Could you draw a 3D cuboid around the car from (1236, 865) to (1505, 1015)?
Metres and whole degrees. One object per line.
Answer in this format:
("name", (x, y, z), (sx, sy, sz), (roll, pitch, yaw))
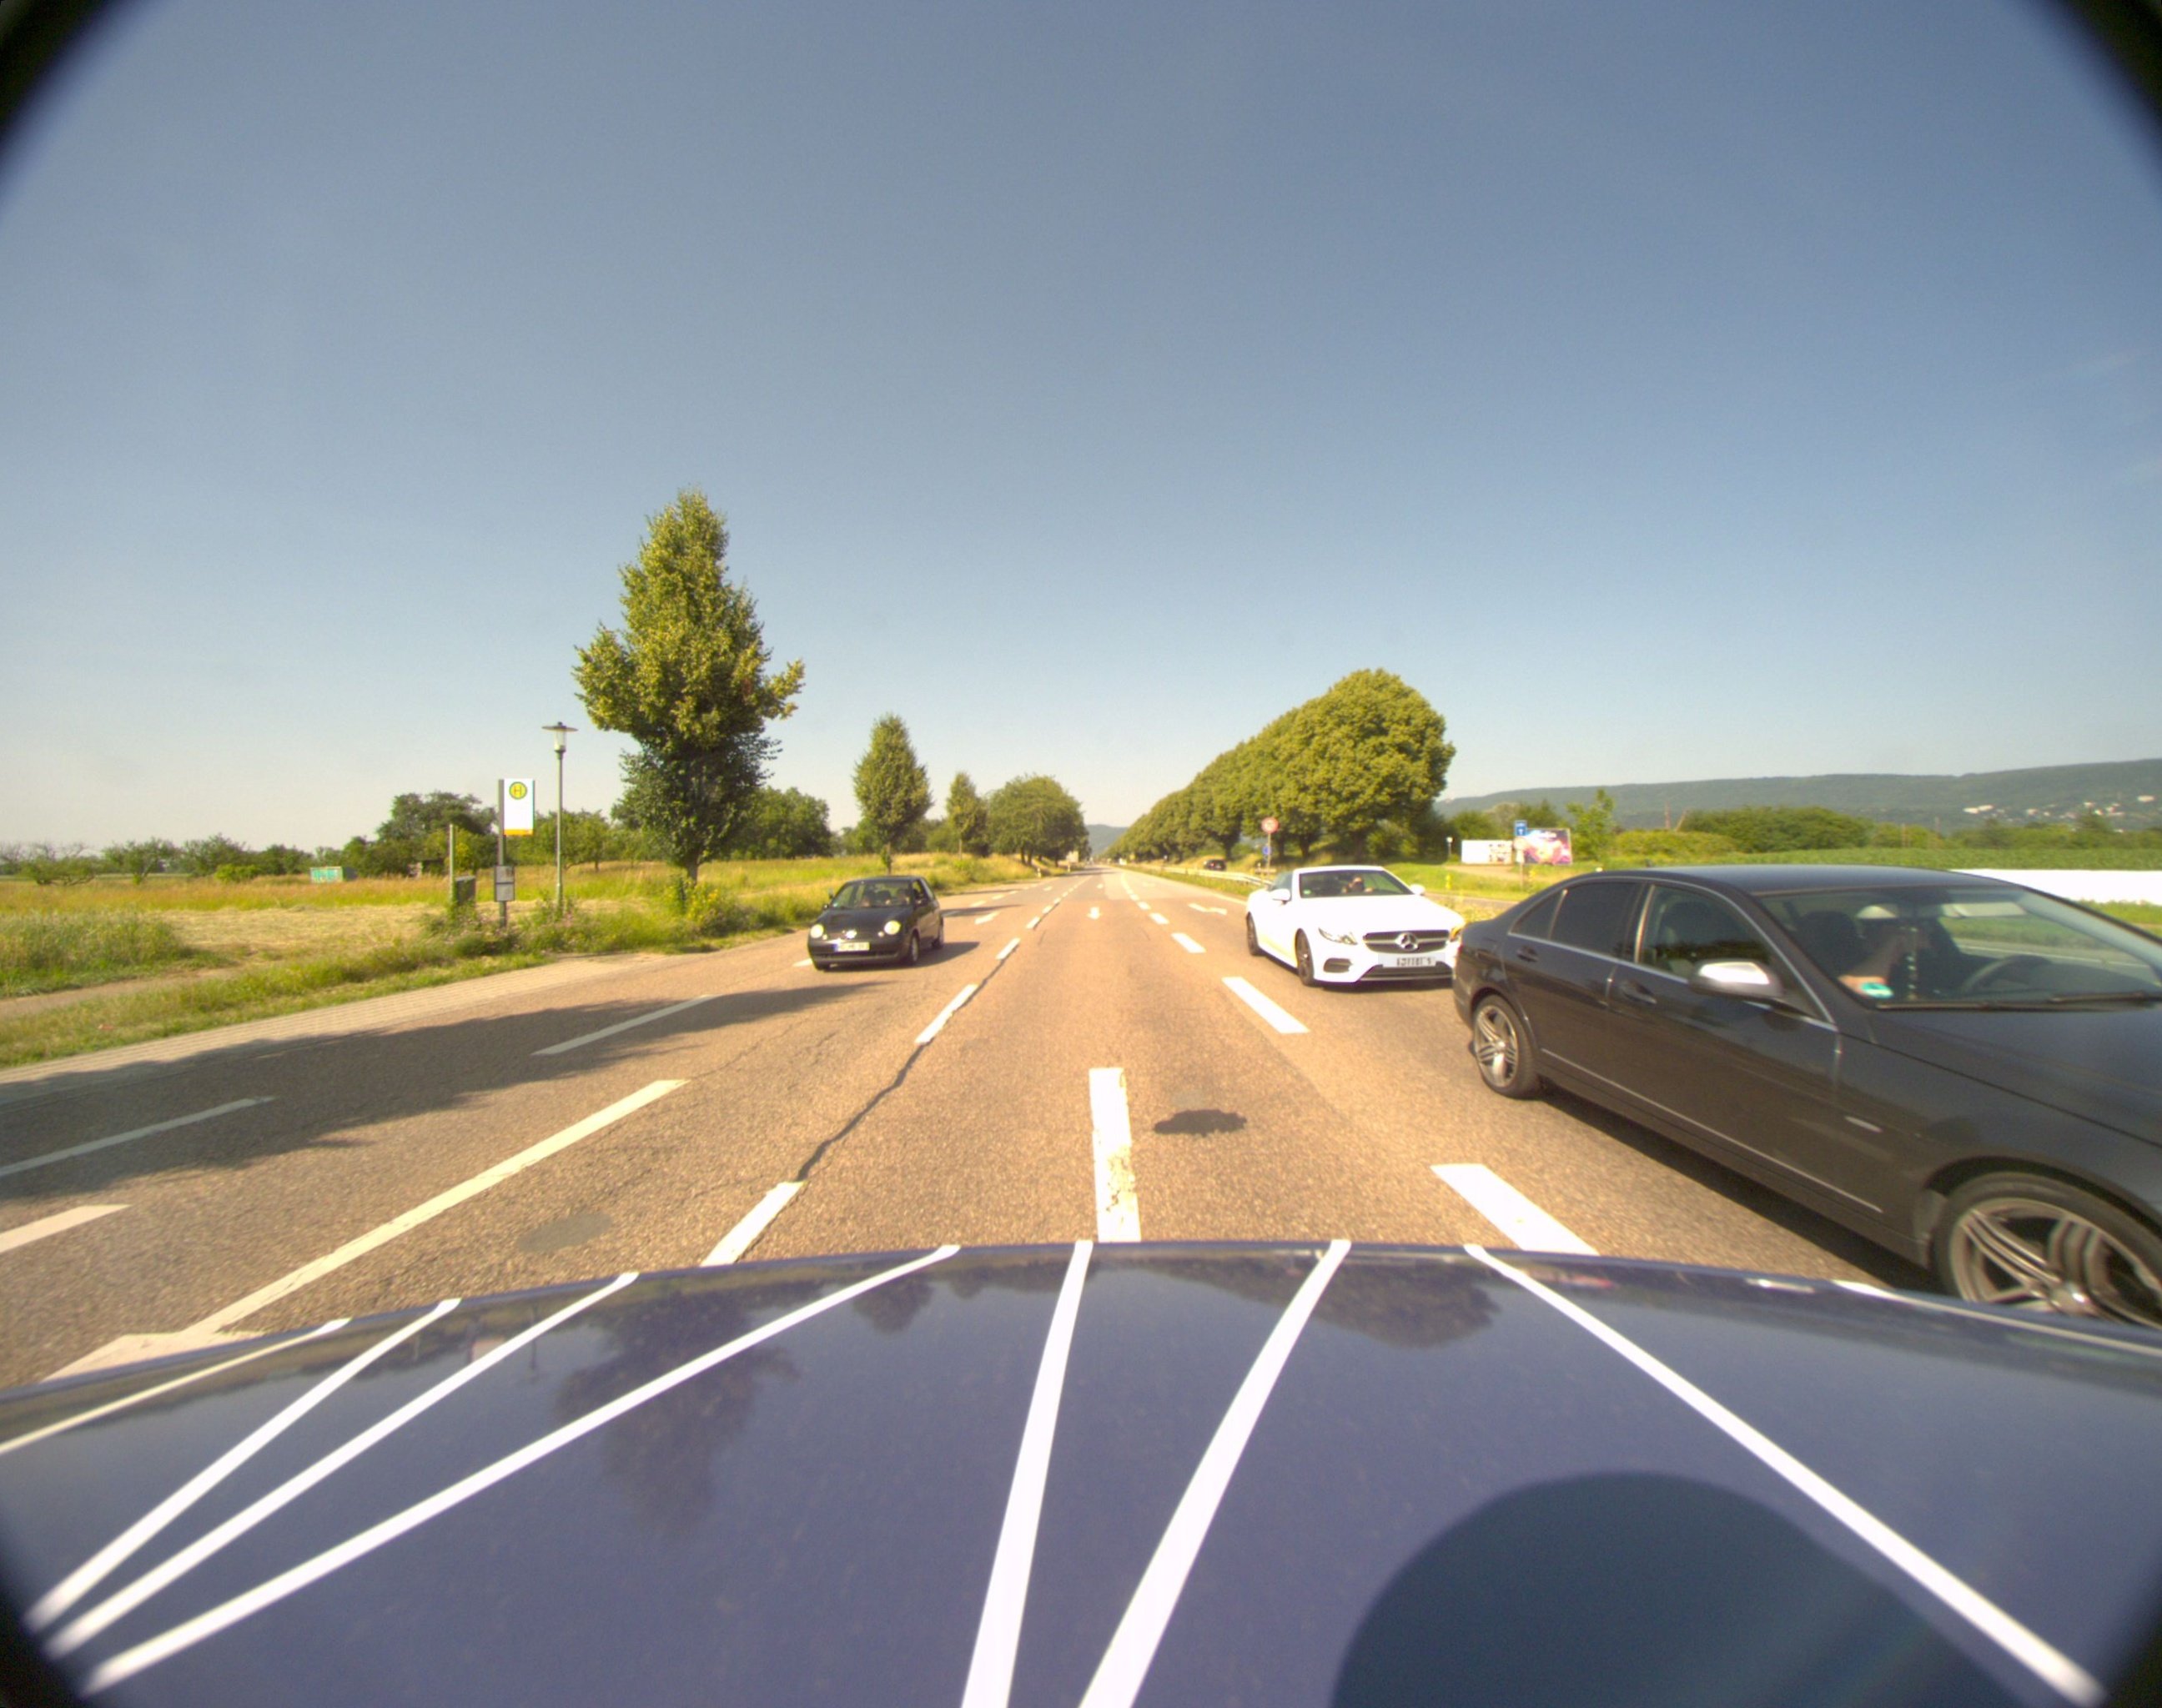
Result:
("car", (3.426, 0.914, 10.077), (1.808, 1.417, 4.641), (-2, 0, 1))

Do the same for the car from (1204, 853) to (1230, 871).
("car", (14.946, 0.889, 83.705), (1.998, 1.829, 4.954), (1, 0, 0))

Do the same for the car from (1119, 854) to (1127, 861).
("car", (12.353, 1.020, 223.400), (1.998, 1.791, 4.001), (-1, 0, 2))

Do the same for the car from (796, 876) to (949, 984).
("car", (-3.397, 1.175, 13.037), (1.629, 1.425, 3.622), (-2, 0, -1))

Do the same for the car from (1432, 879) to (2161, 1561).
("car", (3.353, 0.902, 3.263), (1.718, 1.402, 4.355), (-2, 0, 1))

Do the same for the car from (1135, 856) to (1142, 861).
("car", (16.689, 1.372, 220.939), (1.726, 1.456, 3.700), (0, 0, 2))
